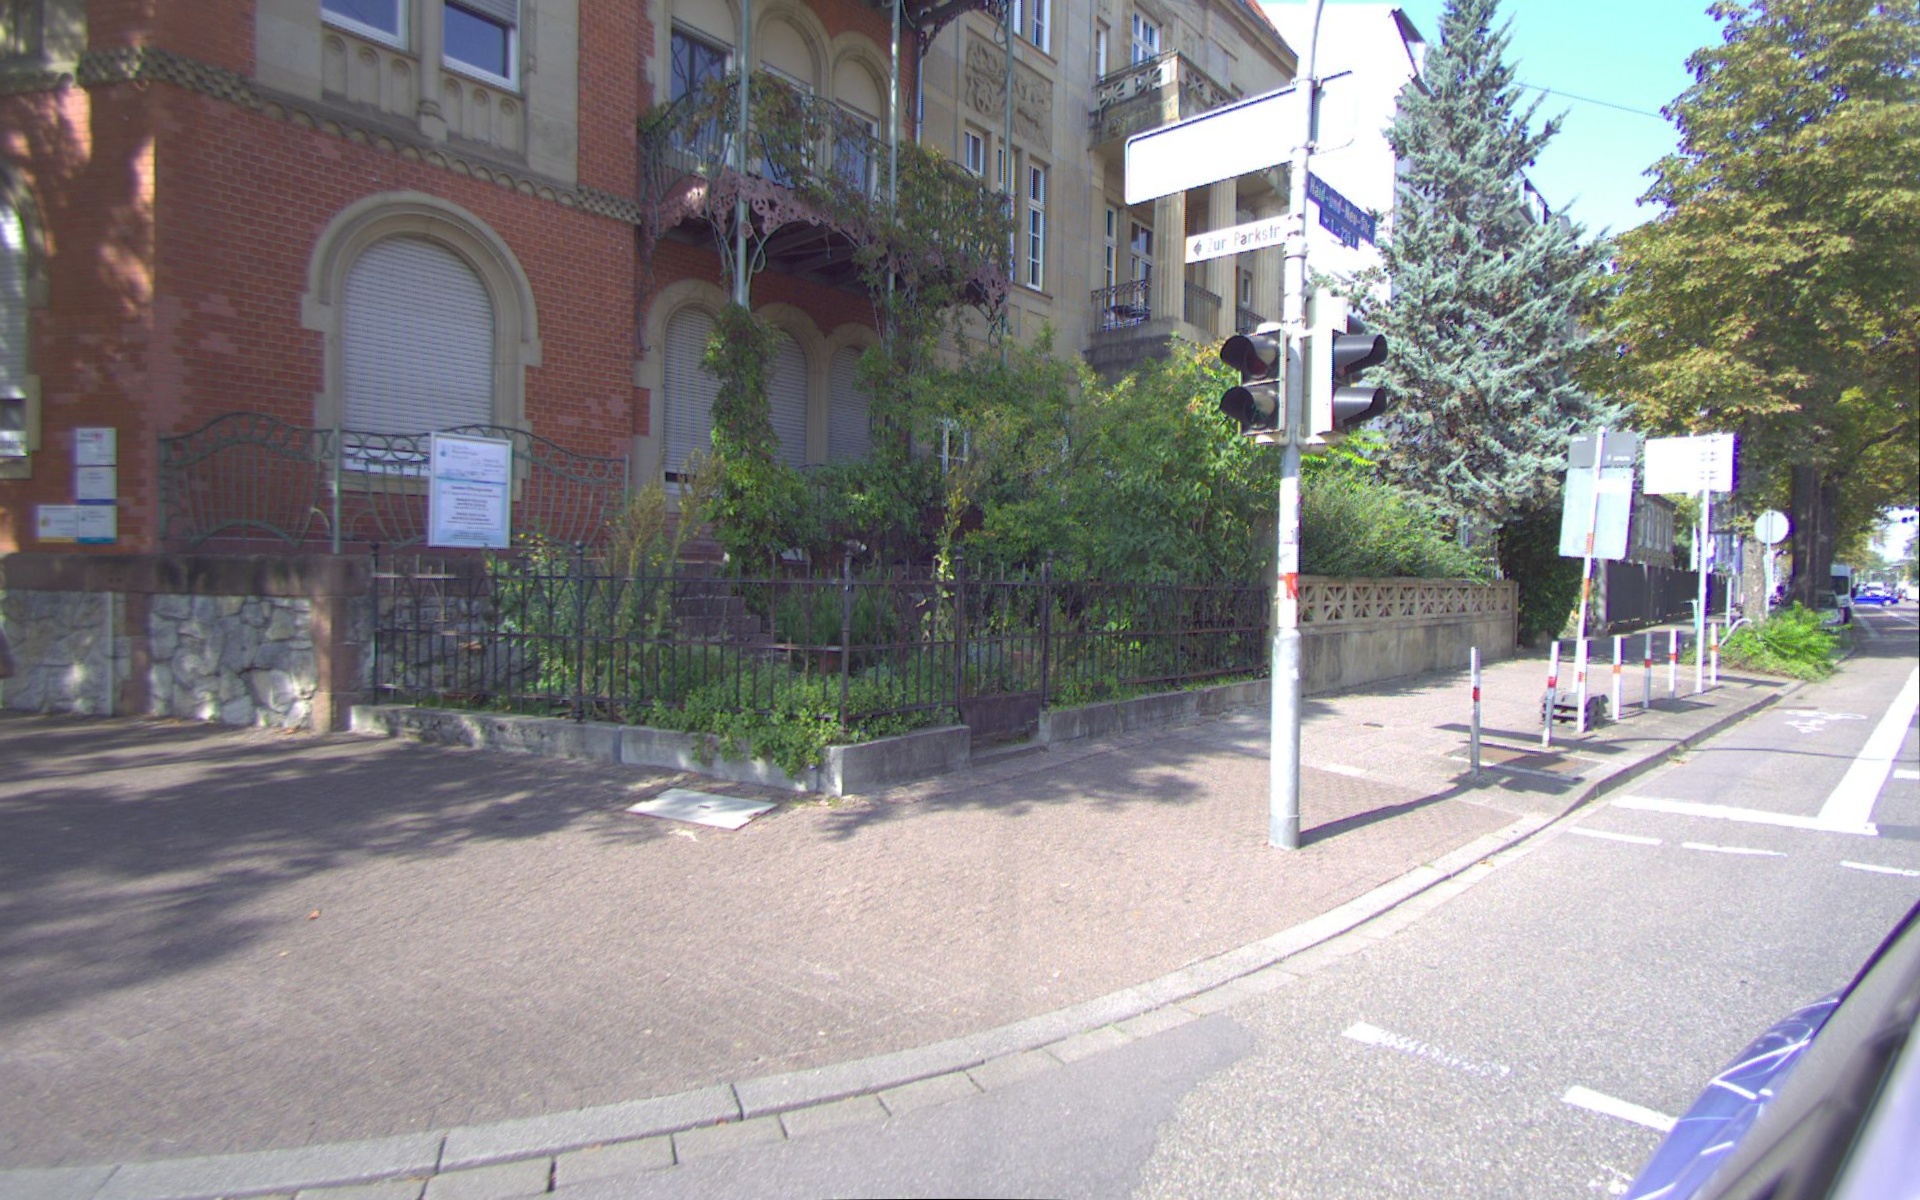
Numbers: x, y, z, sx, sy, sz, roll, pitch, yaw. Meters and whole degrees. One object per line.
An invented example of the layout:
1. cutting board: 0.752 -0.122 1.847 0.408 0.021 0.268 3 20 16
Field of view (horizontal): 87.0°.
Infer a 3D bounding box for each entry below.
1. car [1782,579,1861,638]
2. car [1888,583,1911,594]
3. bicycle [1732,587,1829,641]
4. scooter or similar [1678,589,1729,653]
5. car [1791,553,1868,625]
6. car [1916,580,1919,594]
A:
1. car: 25.905 0.201 30.402 1.607 1.542 4.292 6 5 41
2. car: 131.622 -1.619 141.763 1.990 1.601 4.101 2 2 39
3. bicycle: 20.403 0.340 25.178 1.808 1.179 0.505 3 7 3
4. scooter or similar: 15.050 0.402 20.484 1.017 1.211 0.559 -1 5 -43
5. car: 33.588 -0.465 39.041 2.045 2.529 6.135 3 2 42
6. car: 145.402 -1.968 152.166 1.990 2.038 4.792 2 2 39
